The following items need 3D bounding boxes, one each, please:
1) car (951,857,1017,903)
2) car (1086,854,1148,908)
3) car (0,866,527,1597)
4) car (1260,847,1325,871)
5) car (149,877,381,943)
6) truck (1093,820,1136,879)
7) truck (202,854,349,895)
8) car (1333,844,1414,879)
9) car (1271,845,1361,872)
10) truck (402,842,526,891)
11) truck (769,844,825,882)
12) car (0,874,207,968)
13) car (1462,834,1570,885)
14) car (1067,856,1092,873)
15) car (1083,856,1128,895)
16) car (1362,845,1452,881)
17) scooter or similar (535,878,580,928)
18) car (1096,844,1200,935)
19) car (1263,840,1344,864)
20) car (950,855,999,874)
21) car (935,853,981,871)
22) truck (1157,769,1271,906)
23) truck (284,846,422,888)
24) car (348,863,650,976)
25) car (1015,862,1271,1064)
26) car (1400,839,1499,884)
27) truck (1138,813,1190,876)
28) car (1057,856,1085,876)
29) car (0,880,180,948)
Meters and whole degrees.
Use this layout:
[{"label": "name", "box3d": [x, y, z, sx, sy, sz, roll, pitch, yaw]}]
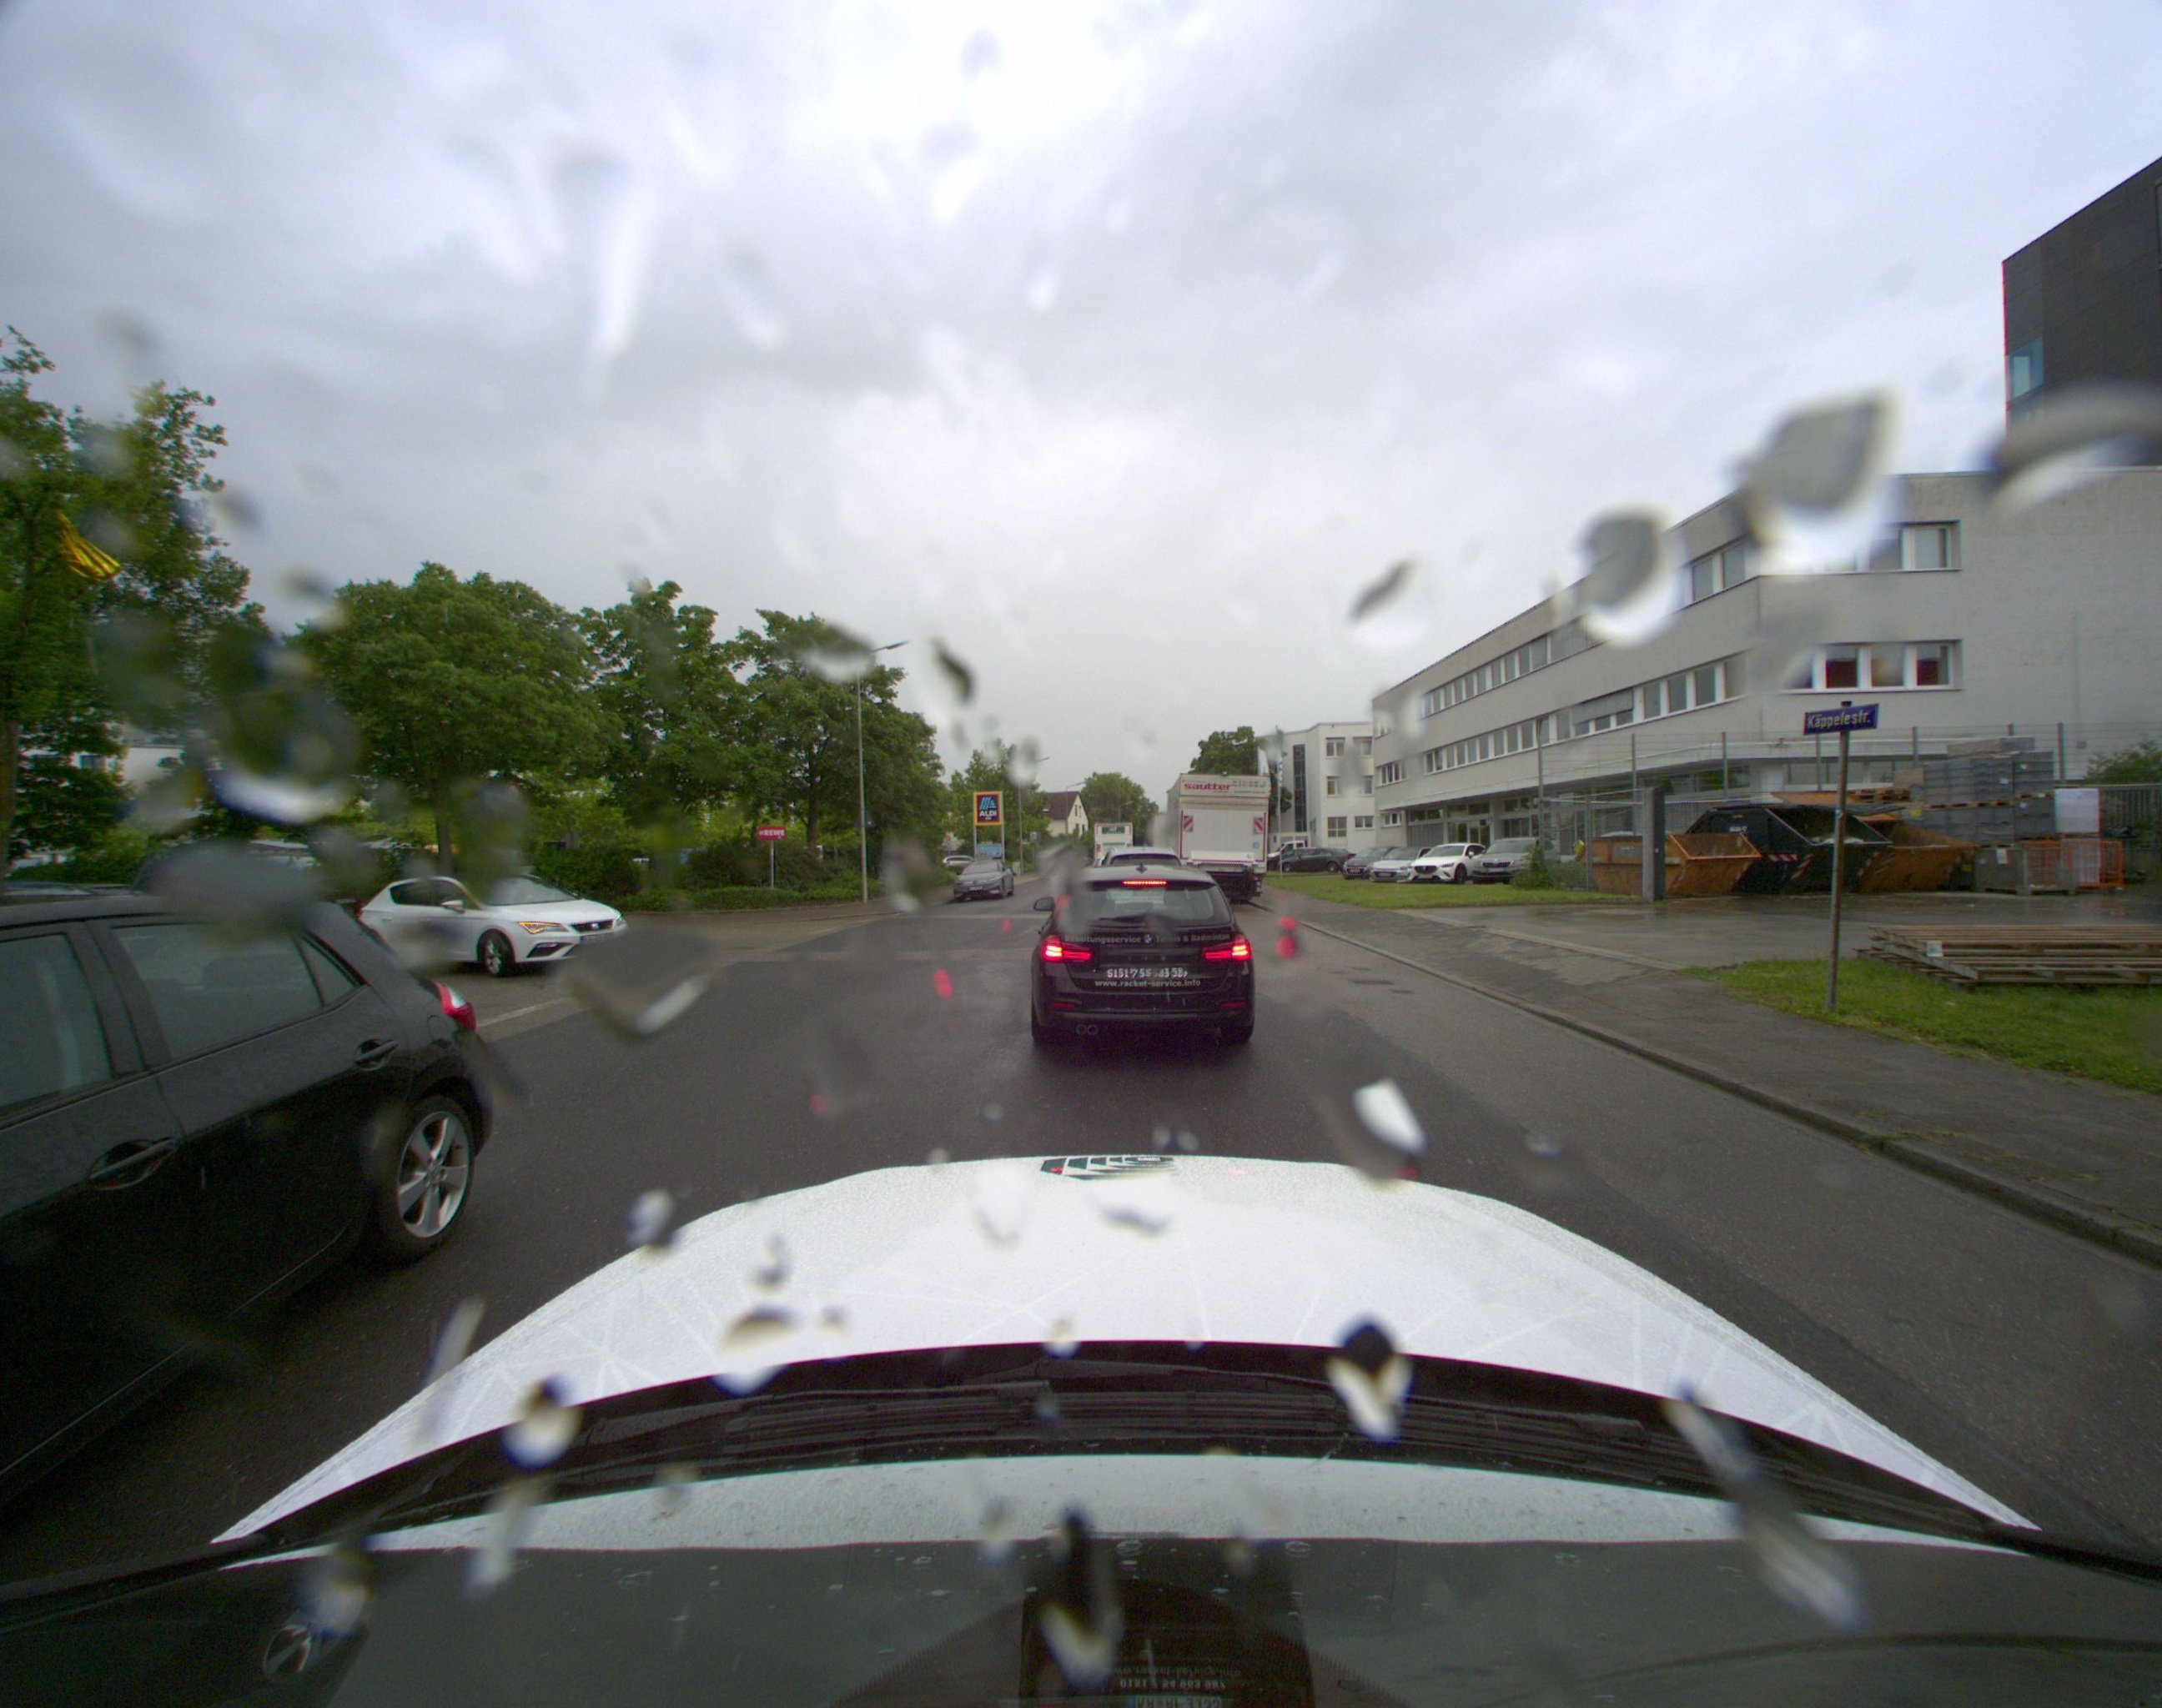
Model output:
[{"label": "car", "box3d": [-3.758, 0.971, 32.388, 1.802, 1.528, 4.750, -5, 0, 2]}, {"label": "car", "box3d": [1.070, 0.796, 25.606, 1.798, 1.552, 4.000, -1, 0, 1]}, {"label": "car", "box3d": [-3.116, 0.807, 1.785, 1.732, 1.441, 3.983, -2, 0, -13]}, {"label": "car", "box3d": [13.895, 0.285, 53.561, 3.733, 1.396, 1.738, 2, 3, 43]}, {"label": "car", "box3d": [-20.091, 1.354, 20.160, 3.972, 1.363, 1.737, -2, 0, 1]}, {"label": "truck", "box3d": [2.026, -0.387, 49.557, 2.332, 3.256, 7.755, 1, 2, 2]}, {"label": "truck", "box3d": [-44.573, 1.089, 45.326, 1.987, 2.060, 6.134, -2, 0, 1]}, {"label": "car", "box3d": [12.688, 0.302, 35.243, 3.789, 1.393, 1.686, -2, 0, -42]}, {"label": "car", "box3d": [13.515, 0.276, 46.903, 4.616, 1.468, 1.802, -2, 0, 40]}, {"label": "truck", "box3d": [-35.752, 0.679, 47.500, 1.984, 2.601, 6.404, -2, 0, 4]}, {"label": "truck", "box3d": [-22.300, 0.665, 64.278, 1.986, 2.753, 6.469, -2, 0, 2]}, {"label": "car", "box3d": [-18.429, 1.188, 14.441, 3.972, 1.441, 1.737, -2, 0, 1]}, {"label": "car", "box3d": [14.271, 0.150, 26.639, 4.022, 1.527, 1.850, -2, 0, -43]}, {"label": "car", "box3d": [-0.096, 0.904, 71.421, 1.697, 1.367, 3.845, -4, 0, 6]}, {"label": "car", "box3d": [1.034, 0.885, 34.900, 1.798, 1.552, 4.000, -1, 0, 1]}, {"label": "car", "box3d": [12.920, 0.321, 32.193, 4.022, 1.286, 1.686, -2, 0, -42]}, {"label": "scooter or similar", "box3d": [-13.030, 1.199, 20.296, 0.282, 1.175, 1.063, -2, 0, 10]}, {"label": "car", "box3d": [1.216, 0.636, 16.302, 1.798, 1.586, 4.000, -1, 0, 1]}, {"label": "car", "box3d": [19.145, -0.181, 70.128, 6.436, 2.014, 1.998, -1, -1, -2]}, {"label": "car", "box3d": [-8.367, 0.830, 64.042, 3.553, 1.460, 1.714, 0, 0, 4]}, {"label": "car", "box3d": [-11.672, 0.756, 77.392, 3.970, 1.540, 1.912, -1, 0, 3]}, {"label": "truck", "box3d": [4.164, -0.483, 27.481, 2.730, 3.789, 9.306, 1, 0, 3]}, {"label": "truck", "box3d": [-39.931, 0.656, 44.946, 1.987, 2.094, 6.134, -2, 0, 1]}, {"label": "car", "box3d": [-8.757, 0.946, 12.279, 3.953, 1.441, 1.745, -2, 0, 21]}, {"label": "car", "box3d": [0.472, 0.790, 7.767, 1.798, 1.395, 4.000, -1, 0, 1]}, {"label": "car", "box3d": [13.143, 0.227, 28.940, 4.022, 1.470, 1.754, -2, 0, -42]}, {"label": "truck", "box3d": [5.073, -0.534, 51.029, 2.730, 3.611, 7.755, 1, 0, 2]}, {"label": "car", "box3d": [-0.781, 0.947, 65.338, 1.698, 1.367, 4.607, -4, 0, 5]}, {"label": "car", "box3d": [-25.177, 1.484, 20.084, 3.972, 1.441, 1.737, -2, 0, 1]}]
